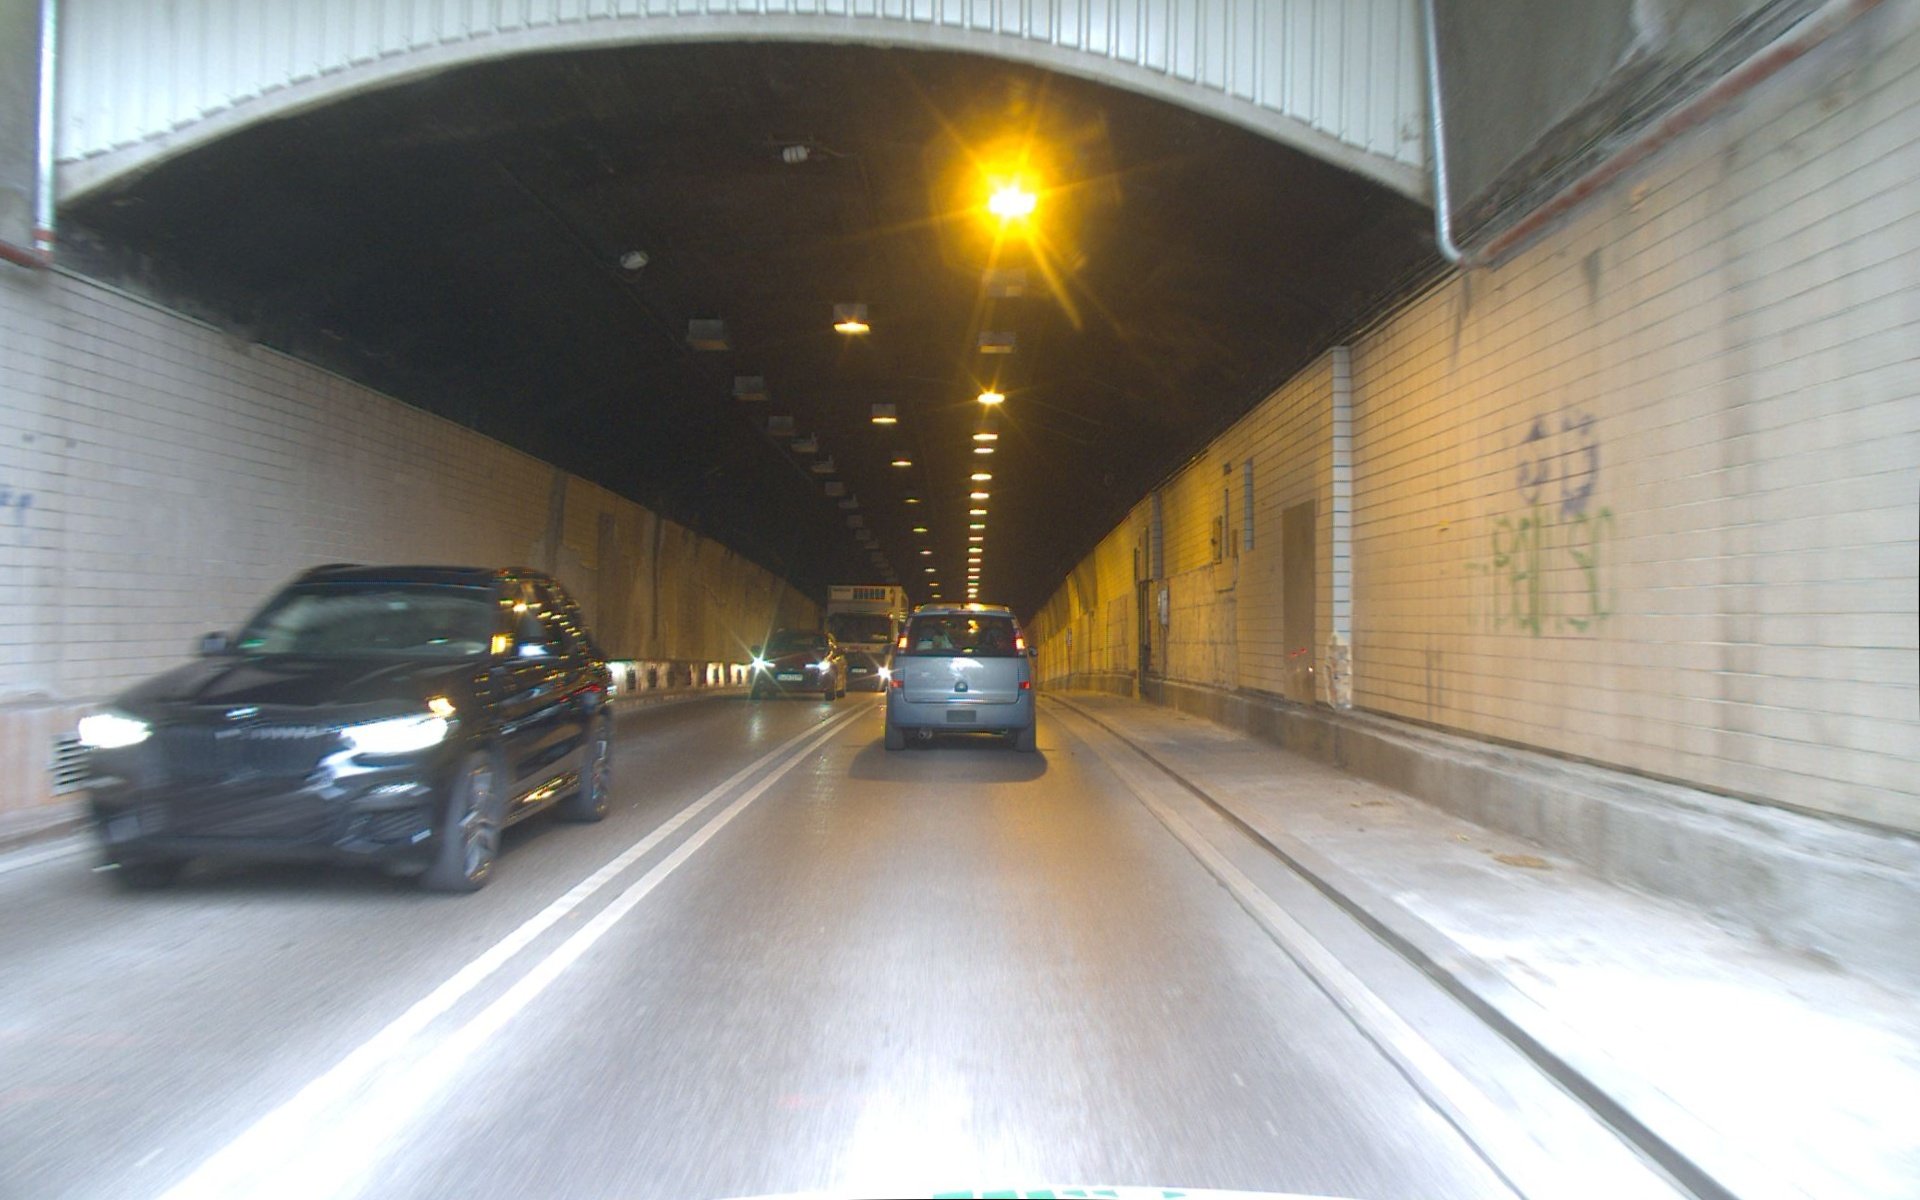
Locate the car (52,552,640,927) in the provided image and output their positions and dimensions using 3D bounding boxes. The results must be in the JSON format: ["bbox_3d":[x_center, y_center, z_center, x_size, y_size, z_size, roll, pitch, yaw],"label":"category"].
[{"bbox_3d":[-3.235,0.657,9.773,1.840,1.705,4.376,0,-1,0],"label":"car"}]

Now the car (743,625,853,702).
[{"bbox_3d":[-3.344,1.319,34.848,1.854,1.495,4.160,1,-2,0],"label":"car"}]

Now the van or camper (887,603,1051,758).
[{"bbox_3d":[0.063,0.858,19.171,1.700,1.605,3.645,1,0,-1],"label":"van or camper"}]

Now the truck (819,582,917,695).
[{"bbox_3d":[-3.173,1.478,59.237,2.755,3.782,7.546,0,-3,2],"label":"truck"}]
